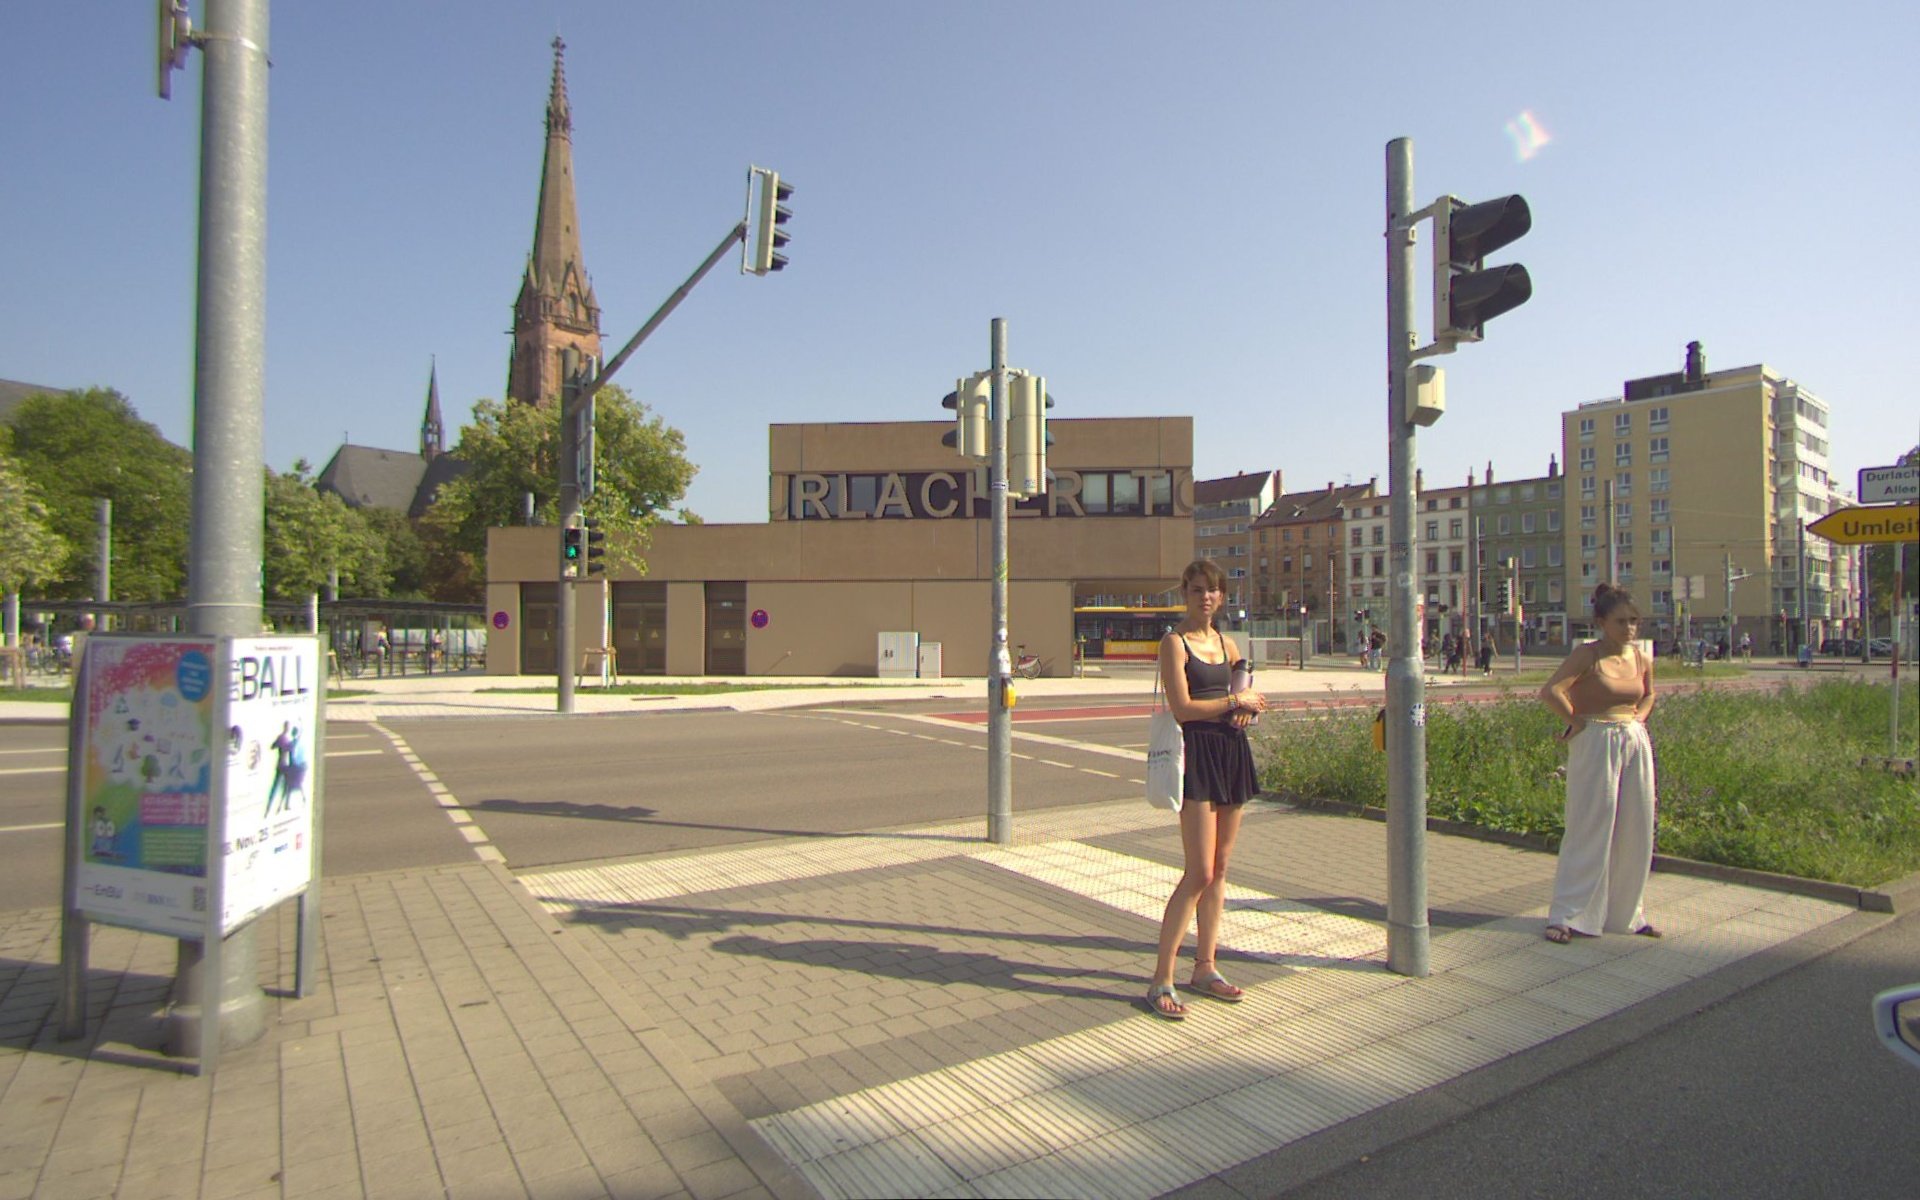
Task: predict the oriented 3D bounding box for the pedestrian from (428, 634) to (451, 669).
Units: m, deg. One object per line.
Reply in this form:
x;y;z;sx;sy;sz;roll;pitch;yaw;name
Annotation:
-21.533;2.131;41.545;0.576;1.427;0.692;0;-2;1;pedestrian

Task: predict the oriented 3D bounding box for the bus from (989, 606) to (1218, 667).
7.632;1.958;54.232;11.967;3.149;2.718;0;-2;5;bus

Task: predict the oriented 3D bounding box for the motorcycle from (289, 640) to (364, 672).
-24.536;2.180;38.923;2.329;1.221;0.759;0;-2;-4;motorcycle

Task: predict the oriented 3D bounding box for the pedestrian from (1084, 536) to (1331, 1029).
0.971;0.651;3.994;0.684;1.721;0.662;1;-2;-34;pedestrian

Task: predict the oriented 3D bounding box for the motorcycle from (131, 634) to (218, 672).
-30.698;2.063;39.283;2.716;1.468;0.790;0;-2;-3;motorcycle

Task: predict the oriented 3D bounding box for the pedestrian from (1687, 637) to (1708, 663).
49.718;3.340;67.711;0.915;1.712;0.914;2;-2;-40;pedestrian

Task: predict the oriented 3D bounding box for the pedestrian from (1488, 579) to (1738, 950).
3.142;0.754;4.905;0.763;1.676;0.669;0;-2;2;pedestrian

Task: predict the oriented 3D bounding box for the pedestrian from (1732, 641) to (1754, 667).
51.025;3.508;65.449;0.915;1.712;0.914;2;-2;-40;pedestrian

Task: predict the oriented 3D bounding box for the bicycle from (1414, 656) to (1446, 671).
31.077;4.164;66.410;0.718;0.944;1.802;1;-2;-33;bicycle

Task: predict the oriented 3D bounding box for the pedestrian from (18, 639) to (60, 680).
-39.857;2.561;43.497;0.989;1.784;0.861;0;-2;-9;pedestrian

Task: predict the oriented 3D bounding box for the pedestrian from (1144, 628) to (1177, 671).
7.897;1.947;39.564;0.857;1.694;0.980;2;-2;-35;pedestrian

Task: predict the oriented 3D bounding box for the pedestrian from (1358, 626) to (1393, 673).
15.961;1.905;38.606;0.851;1.793;0.987;1;-2;-14;pedestrian

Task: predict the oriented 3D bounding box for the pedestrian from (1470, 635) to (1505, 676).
20.629;2.144;39.291;0.970;1.579;0.866;0;-2;12;pedestrian

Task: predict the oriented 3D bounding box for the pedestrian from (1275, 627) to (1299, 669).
14.391;2.107;44.221;0.693;1.824;0.774;1;-2;-30;pedestrian

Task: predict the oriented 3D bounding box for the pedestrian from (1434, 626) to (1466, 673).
19.402;1.958;39.774;0.767;1.824;0.797;1;-2;-16;pedestrian

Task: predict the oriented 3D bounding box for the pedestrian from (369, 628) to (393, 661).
-24.803;1.910;43.051;0.576;1.427;0.692;0;-2;1;pedestrian

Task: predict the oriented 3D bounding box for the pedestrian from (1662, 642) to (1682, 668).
48.263;3.721;68.076;0.915;1.712;0.914;2;-2;-40;pedestrian

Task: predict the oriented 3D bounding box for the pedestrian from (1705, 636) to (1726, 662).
50.162;3.235;66.696;0.915;1.712;0.914;2;-2;-40;pedestrian

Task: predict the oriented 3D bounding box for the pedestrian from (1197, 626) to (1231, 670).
10.103;1.902;39.978;0.857;1.727;0.980;2;-2;-35;pedestrian

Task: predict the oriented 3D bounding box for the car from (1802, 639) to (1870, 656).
73.357;3.971;84.163;1.470;1.372;4.121;2;-2;-40;car

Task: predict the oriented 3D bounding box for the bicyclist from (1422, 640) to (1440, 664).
31.131;3.435;66.352;0.718;1.547;0.789;1;-2;-33;bicyclist

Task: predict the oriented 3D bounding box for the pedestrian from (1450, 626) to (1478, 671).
20.530;1.980;40.927;0.693;1.824;0.774;1;-2;-30;pedestrian

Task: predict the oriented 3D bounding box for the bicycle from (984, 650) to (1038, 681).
1.474;1.873;28.860;1.516;0.849;0.593;0;1;6;bicycle

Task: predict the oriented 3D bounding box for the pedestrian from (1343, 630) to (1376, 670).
16.170;2.021;40.634;0.850;1.583;0.989;1;-2;-9;pedestrian
